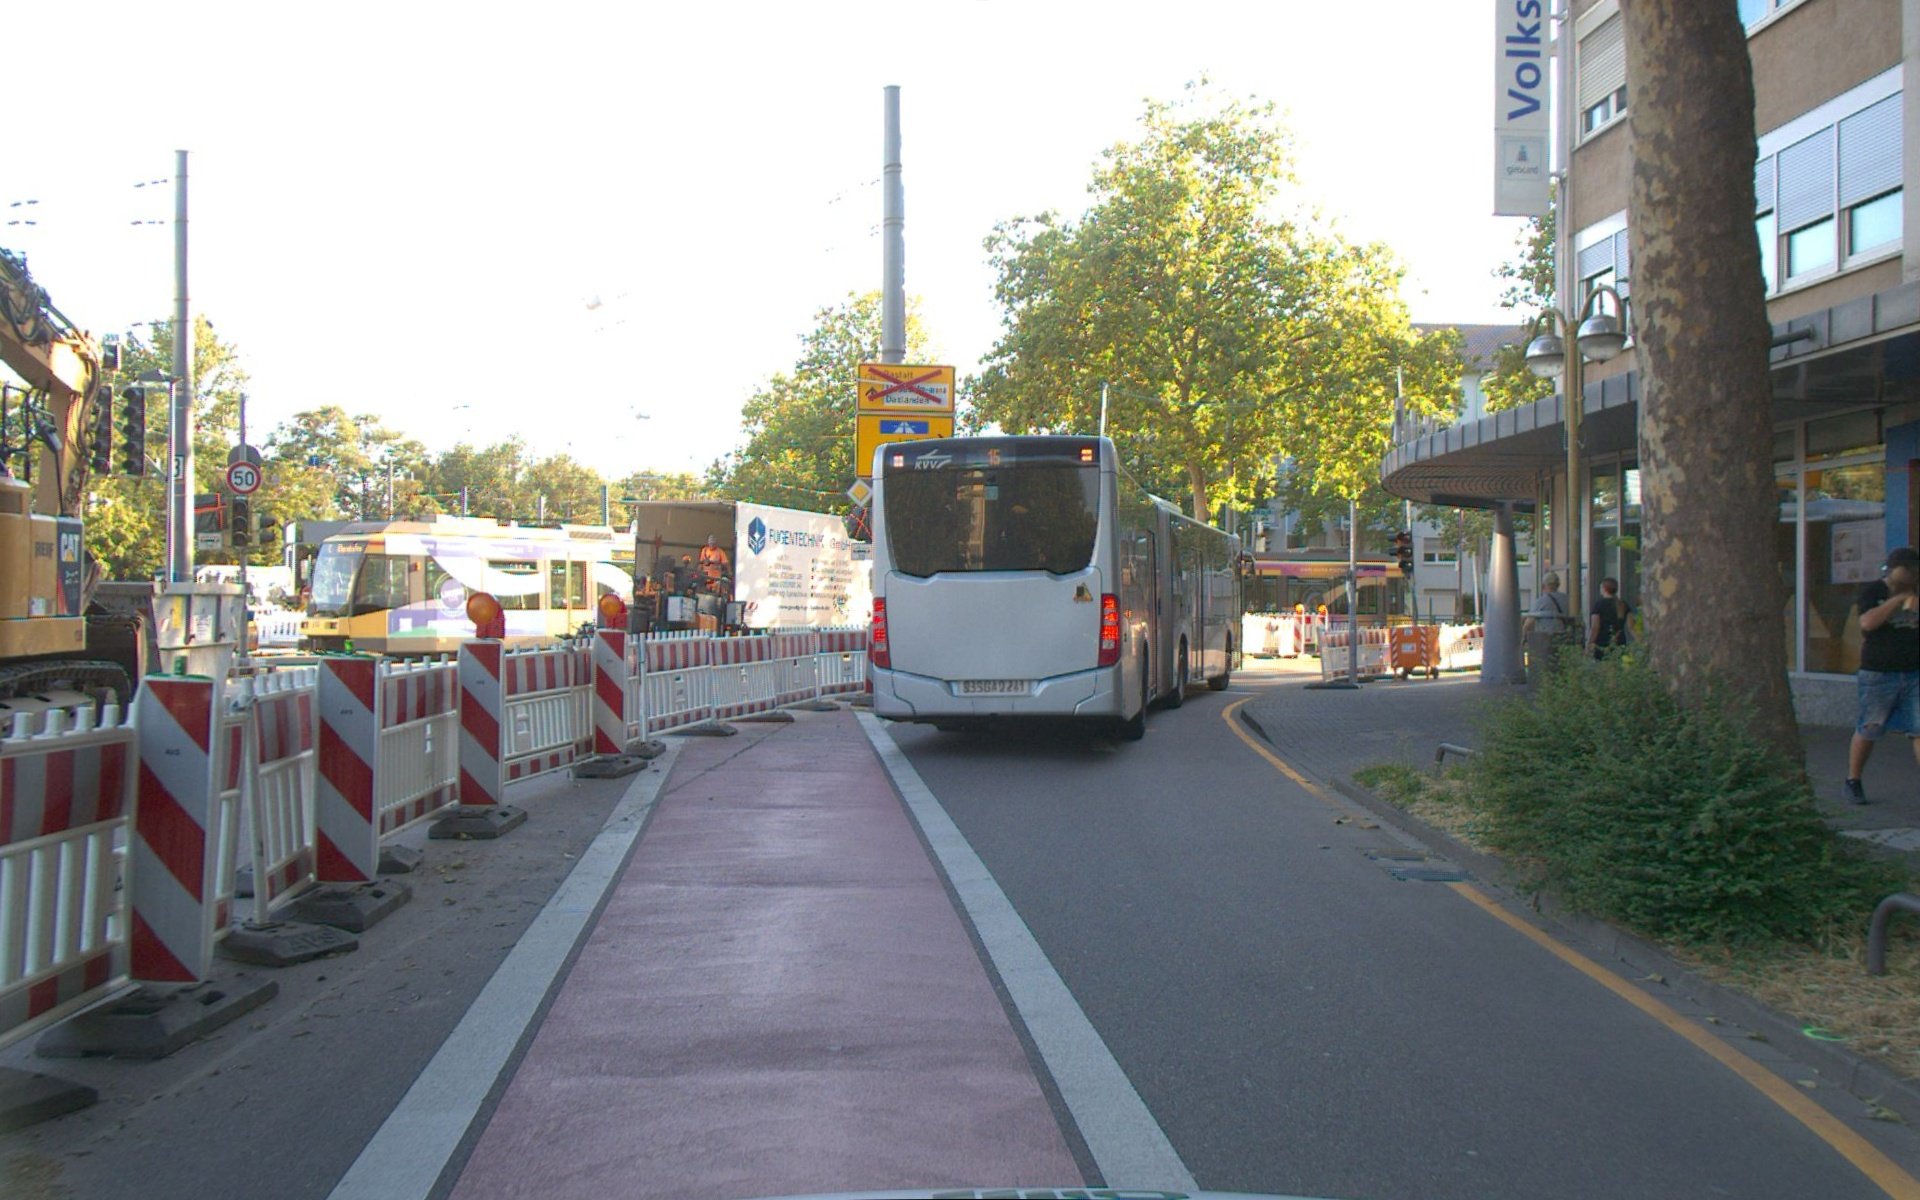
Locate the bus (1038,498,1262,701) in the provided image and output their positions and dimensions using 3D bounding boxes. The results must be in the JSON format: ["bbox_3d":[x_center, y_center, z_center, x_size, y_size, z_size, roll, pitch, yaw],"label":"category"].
[{"bbox_3d":[3.768,-0.015,30.453,2.651,3.161,8.985,0,0,16],"label":"bus"}]

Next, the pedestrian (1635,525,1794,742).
[{"bbox_3d":[7.019,0.296,15.445,0.821,1.902,1.098,-4,0,-4],"label":"pedestrian"}]

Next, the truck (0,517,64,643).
[{"bbox_3d":[-33.114,-0.652,50.006,10.317,3.856,2.864,1,-1,-36],"label":"truck"}]

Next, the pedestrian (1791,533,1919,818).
[{"bbox_3d":[6.180,0.443,10.761,0.881,1.740,1.070,-3,0,-4],"label":"pedestrian"}]

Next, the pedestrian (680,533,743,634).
[{"bbox_3d":[-5.139,-0.359,34.212,0.917,2.048,1.001,1,1,21],"label":"pedestrian"}]

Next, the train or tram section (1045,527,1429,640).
[{"bbox_3d":[9.569,-0.493,57.019,13.057,3.581,2.641,1,-1,-13],"label":"train or tram section"}]

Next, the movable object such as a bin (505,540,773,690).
[{"bbox_3d":[-5.363,0.231,28.504,1.953,2.296,5.207,2,0,22],"label":"movable object such as a bin"}]

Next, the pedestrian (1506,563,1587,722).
[{"bbox_3d":[6.617,0.465,18.678,0.571,1.738,0.679,-3,0,-4],"label":"pedestrian"}]

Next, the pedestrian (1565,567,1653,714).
[{"bbox_3d":[7.351,0.446,18.760,0.620,1.601,0.774,-2,1,-4],"label":"pedestrian"}]

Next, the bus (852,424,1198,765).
[{"bbox_3d":[1.350,-0.081,21.013,2.675,3.194,10.712,1,0,11],"label":"bus"}]

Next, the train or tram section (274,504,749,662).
[{"bbox_3d":[-11.187,-0.284,43.689,2.802,3.595,13.344,0,-1,36],"label":"train or tram section"}]

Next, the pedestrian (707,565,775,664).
[{"bbox_3d":[-4.153,0.272,31.469,0.952,1.829,1.070,1,0,13],"label":"pedestrian"}]

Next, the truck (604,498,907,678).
[{"bbox_3d":[-4.354,-0.241,37.850,2.755,3.603,8.980,0,0,23],"label":"truck"}]

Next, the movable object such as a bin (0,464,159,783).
[{"bbox_3d":[-8.565,0.150,13.200,2.594,2.358,4.891,1,0,-10],"label":"movable object such as a bin"}]

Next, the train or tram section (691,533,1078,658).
[{"bbox_3d":[-2.114,-0.035,52.309,12.624,3.611,2.706,1,-1,-33],"label":"train or tram section"}]

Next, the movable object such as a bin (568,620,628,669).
[{"bbox_3d":[-7.127,0.868,32.631,0.914,0.933,1.419,0,0,-2],"label":"movable object such as a bin"}]
